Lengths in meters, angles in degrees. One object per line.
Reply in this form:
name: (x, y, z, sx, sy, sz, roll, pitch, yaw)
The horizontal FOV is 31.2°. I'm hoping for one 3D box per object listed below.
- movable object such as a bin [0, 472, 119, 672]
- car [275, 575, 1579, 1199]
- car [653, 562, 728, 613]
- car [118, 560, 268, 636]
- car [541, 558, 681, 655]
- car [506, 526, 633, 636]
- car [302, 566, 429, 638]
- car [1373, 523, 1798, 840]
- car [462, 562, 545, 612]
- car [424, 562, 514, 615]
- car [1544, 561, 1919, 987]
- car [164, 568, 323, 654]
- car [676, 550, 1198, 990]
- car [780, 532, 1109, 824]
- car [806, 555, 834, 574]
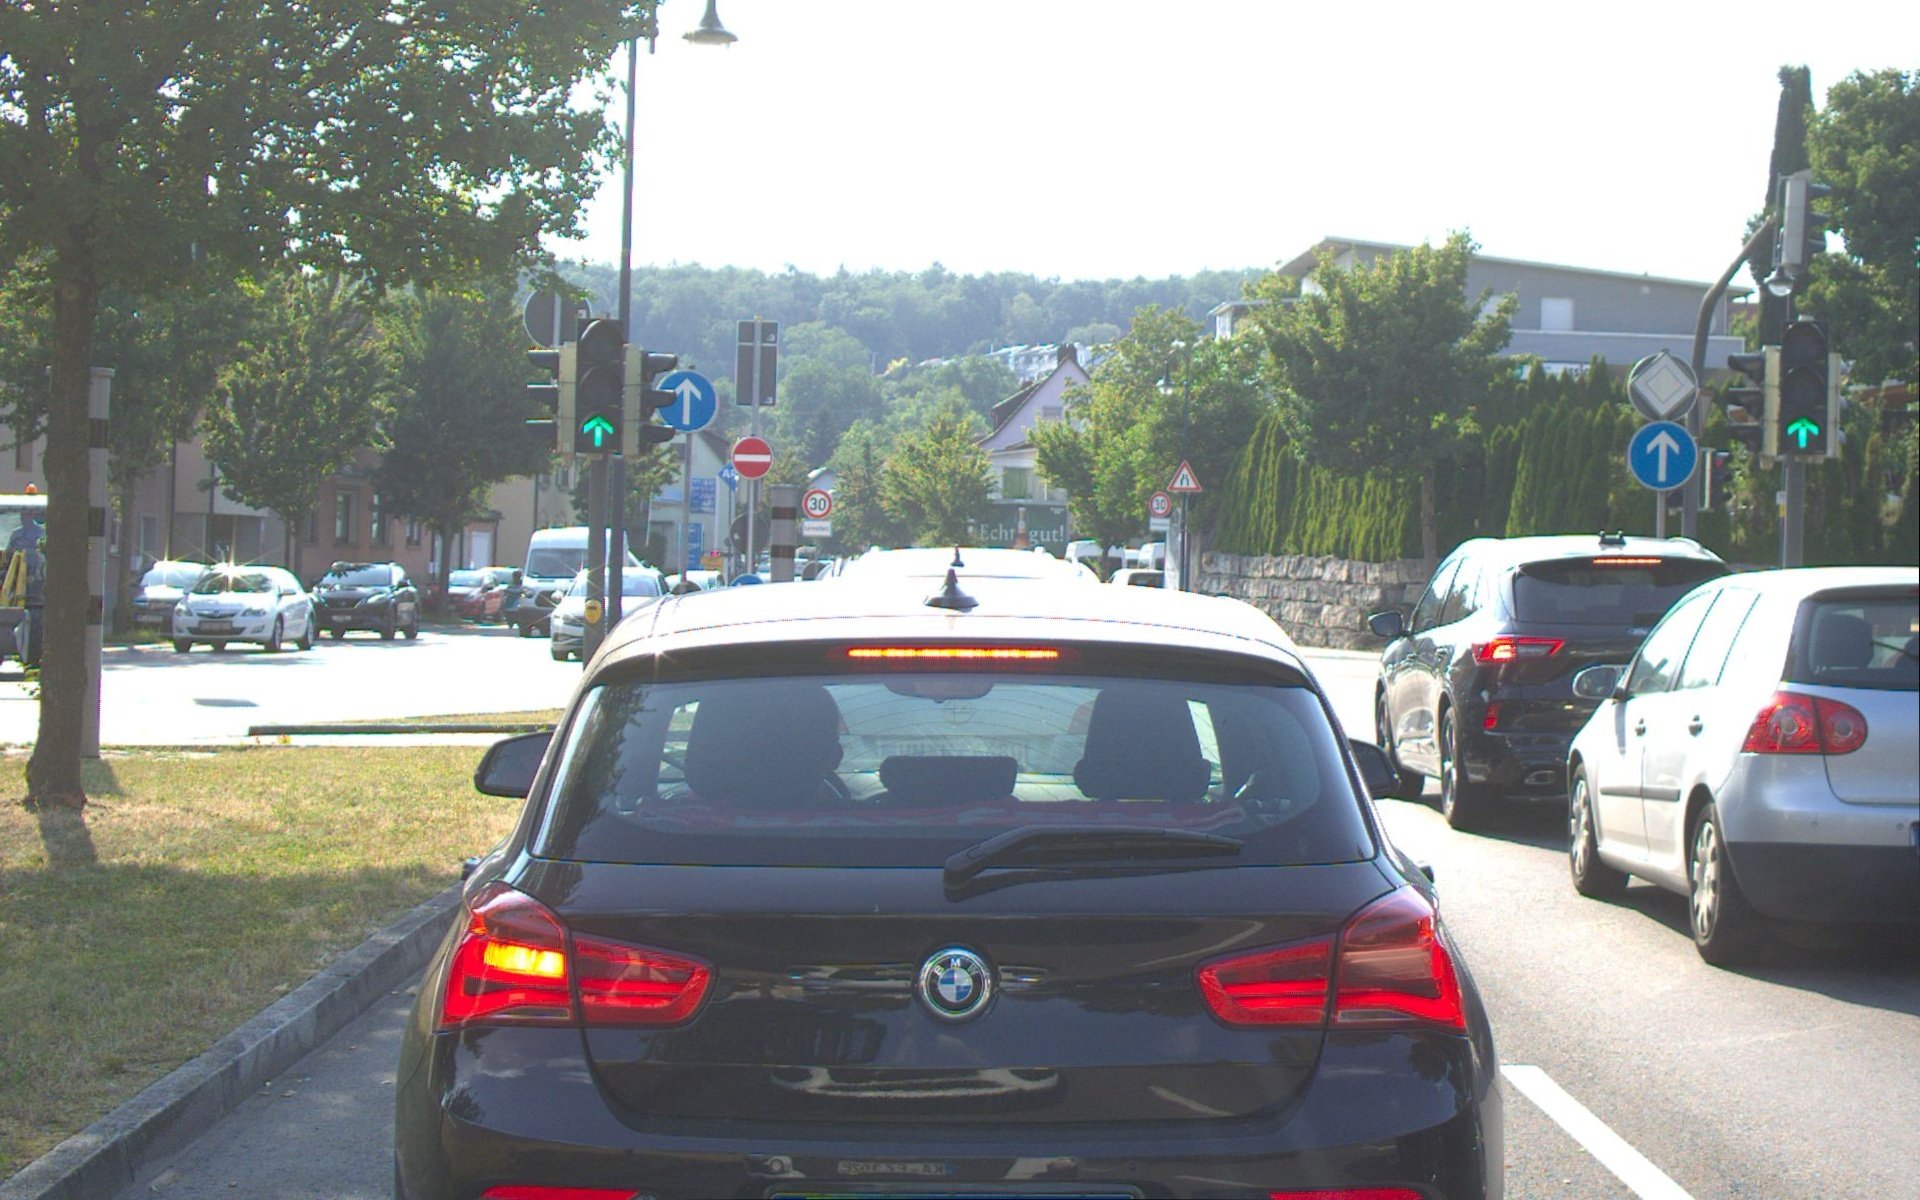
movable object such as a bin: (-12.175, -0.369, 43.971, 1.736, 2.433, 4.450, 0, 1, 0)
car: (-0.039, 0.678, 6.882, 1.788, 1.393, 4.281, -1, 1, 0)
car: (-8.080, -0.386, 103.334, 1.839, 1.477, 4.000, 1, 1, 1)
car: (-14.938, -0.061, 67.176, 1.737, 1.296, 4.000, 5, 1, 3)
car: (-5.595, 0.075, 55.537, 1.839, 1.477, 4.000, 1, 1, 0)
car: (-8.827, -0.442, 78.127, 2.084, 2.385, 5.528, 1, 1, 1)
car: (-12.386, 0.028, 71.840, 1.737, 1.296, 3.799, 5, 1, 2)
car: (3.527, 0.397, 20.046, 1.761, 1.650, 3.903, -1, 1, 0)
car: (-13.610, -0.400, 102.641, 1.737, 1.296, 3.799, 5, 1, 2)
car: (-13.858, -0.346, 97.188, 1.737, 1.296, 3.799, 5, 1, 2)
car: (3.554, 0.575, 13.765, 1.761, 1.421, 3.903, -1, 1, 0)
car: (-12.468, 0.169, 60.013, 1.737, 1.296, 3.799, 5, 1, 2)
car: (-0.075, 0.558, 14.027, 1.788, 1.488, 4.281, -1, 1, 0)
car: (-0.082, 0.393, 21.067, 1.788, 1.588, 4.281, -1, 1, 0)
car: (-10.656, -2.688, 262.500, 1.737, 1.296, 3.799, 5, 1, 2)
